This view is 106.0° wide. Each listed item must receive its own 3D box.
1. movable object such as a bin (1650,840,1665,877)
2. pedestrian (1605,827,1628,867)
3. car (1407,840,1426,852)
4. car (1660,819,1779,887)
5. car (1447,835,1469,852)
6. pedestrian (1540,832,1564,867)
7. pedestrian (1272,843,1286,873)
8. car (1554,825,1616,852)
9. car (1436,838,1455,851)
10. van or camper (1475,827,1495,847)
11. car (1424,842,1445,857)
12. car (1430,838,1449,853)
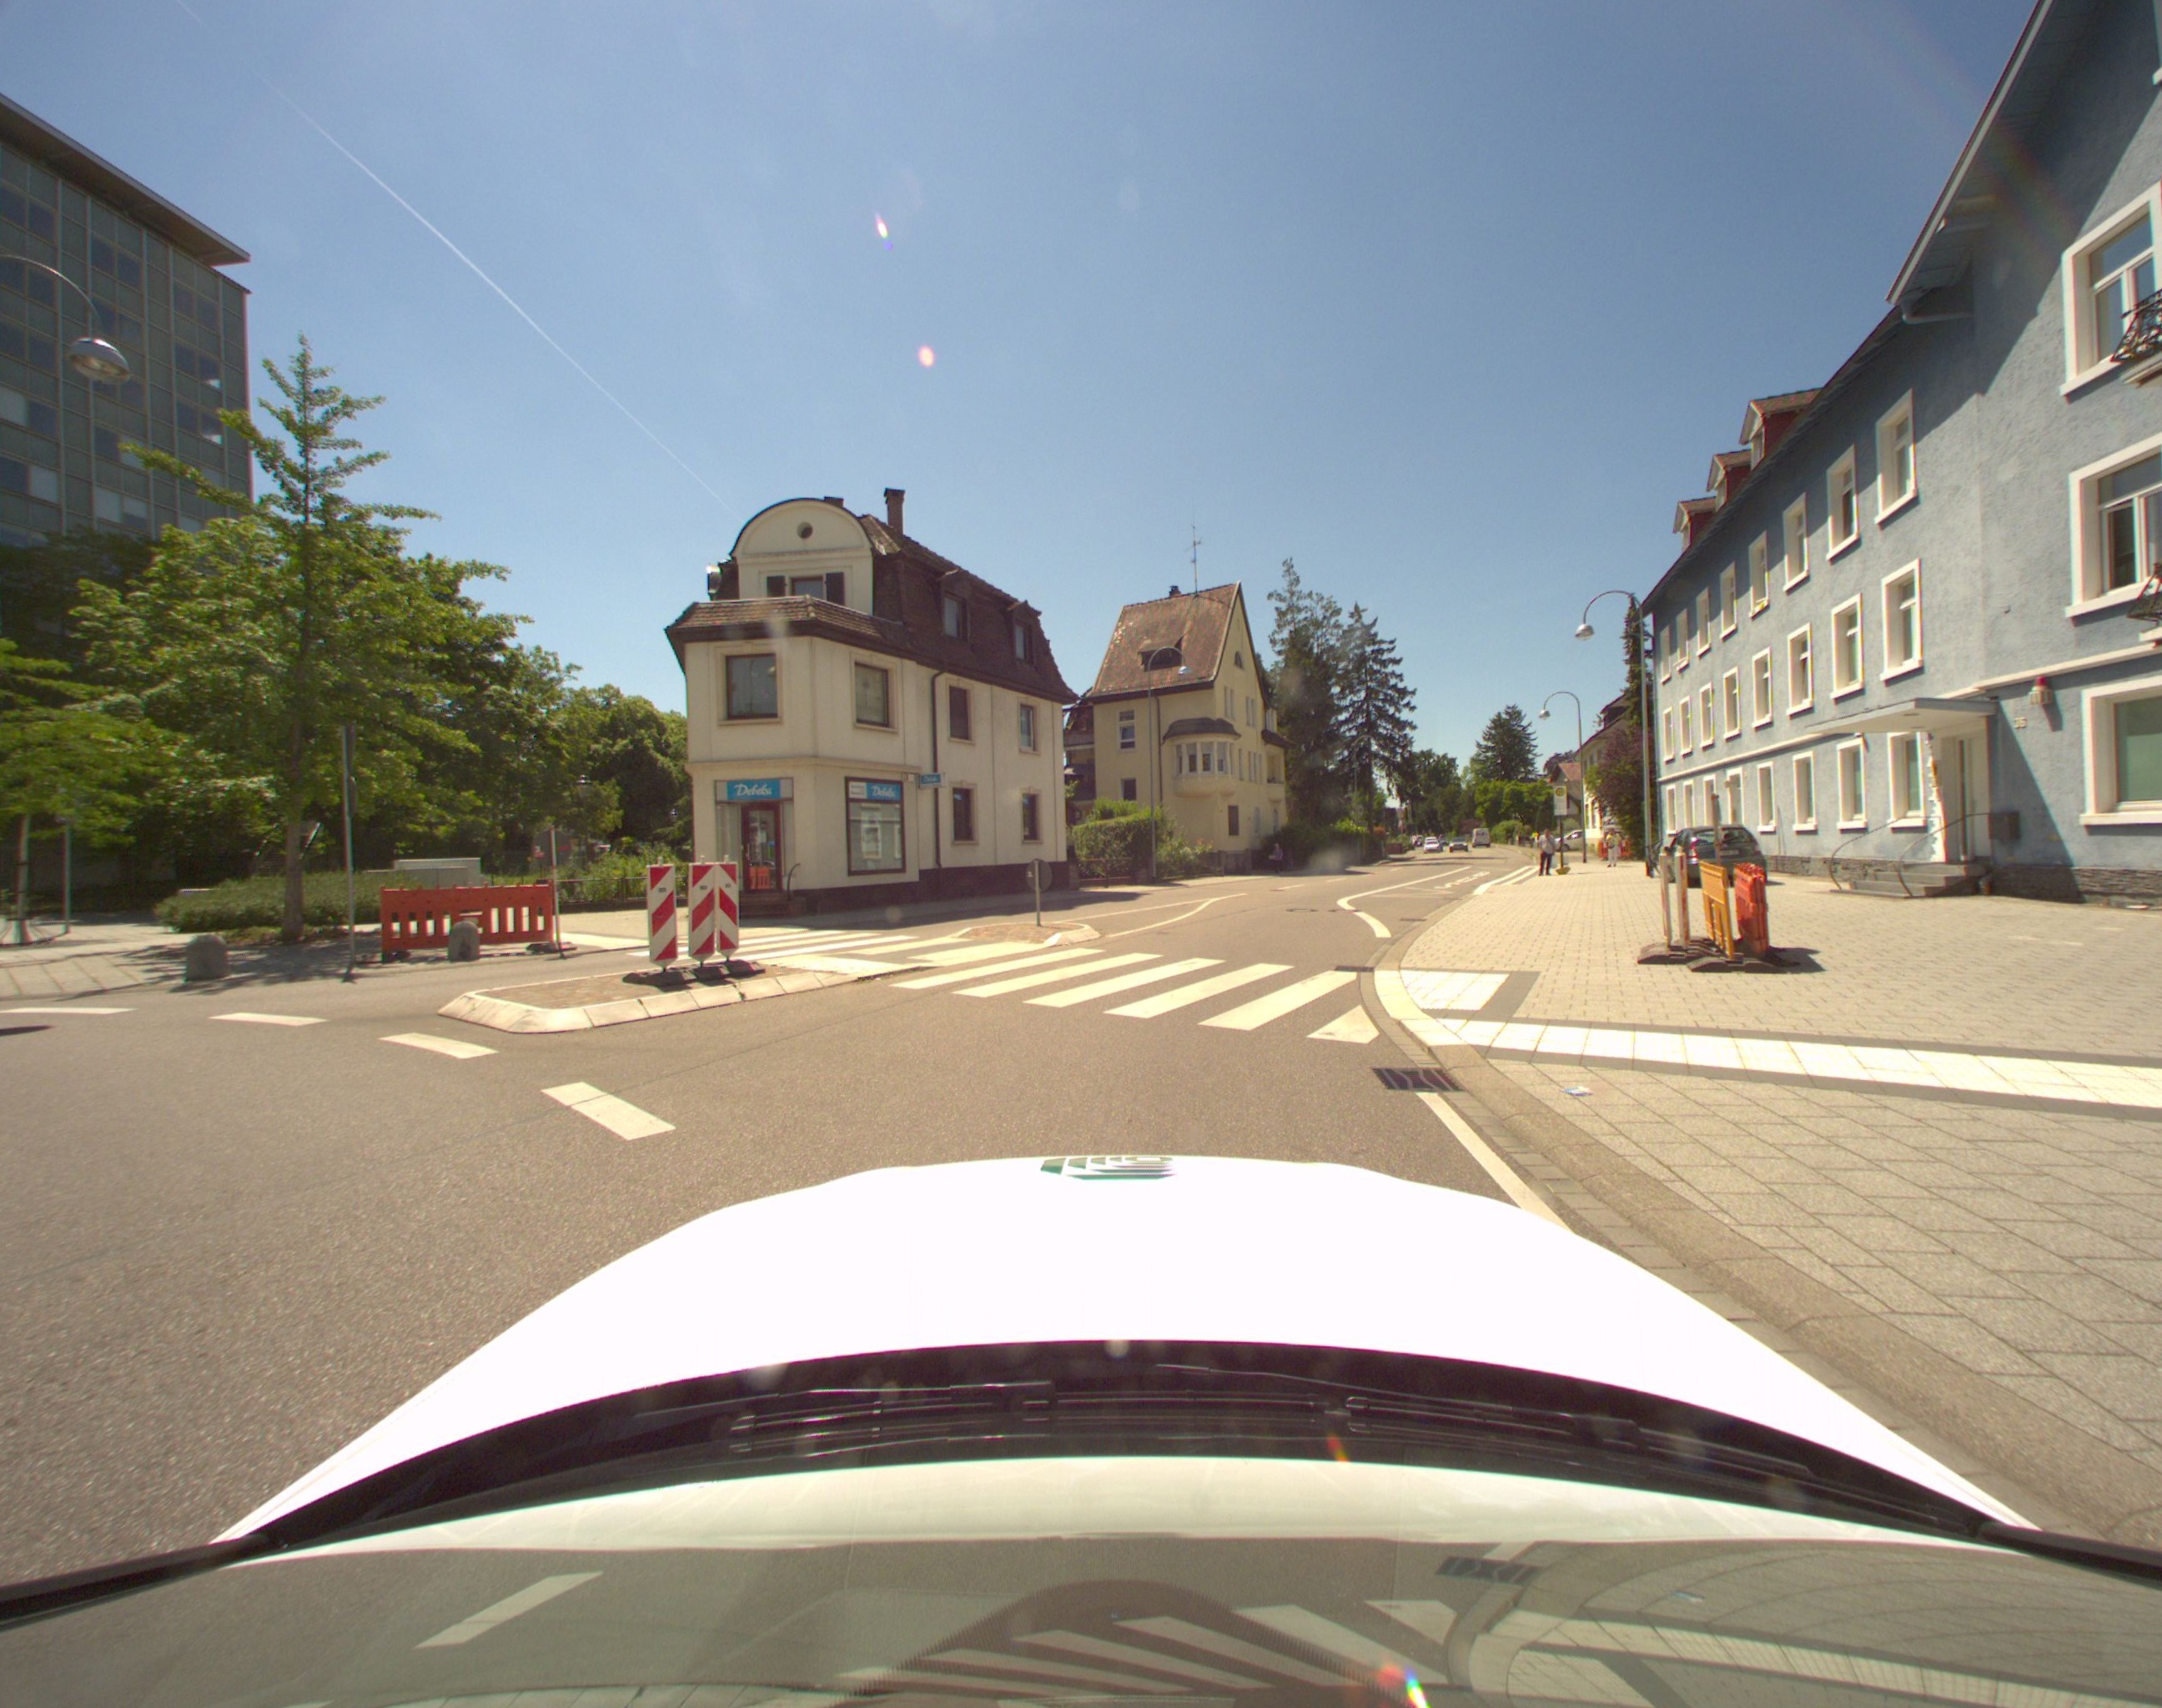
[{"bbox_3d":[17.957,0.136,25.372,0.280,1.123,1.193,-4,-1,37],"label":"movable object such as a bin"},{"bbox_3d":[22.614,-0.296,34.396,0.660,1.594,0.591,-6,-1,34],"label":"pedestrian"},{"bbox_3d":[57.215,-1.348,138.937,1.982,2.013,4.010,-1,0,8],"label":"car"},{"bbox_3d":[16.409,-0.060,21.102,1.624,1.507,3.585,-5,-1,26],"label":"car"},{"bbox_3d":[41.093,-1.165,88.729,1.975,1.717,4.024,-1,0,26],"label":"car"},{"bbox_3d":[18.459,-0.187,31.912,0.660,1.286,0.591,-6,-1,34],"label":"pedestrian"},{"bbox_3d":[10.274,0.210,42.230,0.518,1.509,0.476,-1,0,32],"label":"pedestrian"},{"bbox_3d":[40.770,-1.245,65.996,3.953,2.013,2.010,-1,0,20],"label":"car"},{"bbox_3d":[59.482,-1.506,132.888,1.980,2.013,4.013,-1,0,12],"label":"car"},{"bbox_3d":[53.886,-2.216,108.655,2.186,2.610,4.023,-1,0,24],"label":"van or camper"},{"bbox_3d":[39.940,-0.512,91.936,1.975,1.651,4.023,-1,0,25],"label":"car"},{"bbox_3d":[42.885,-1.047,97.384,1.975,1.651,4.023,-1,0,25],"label":"car"}]
